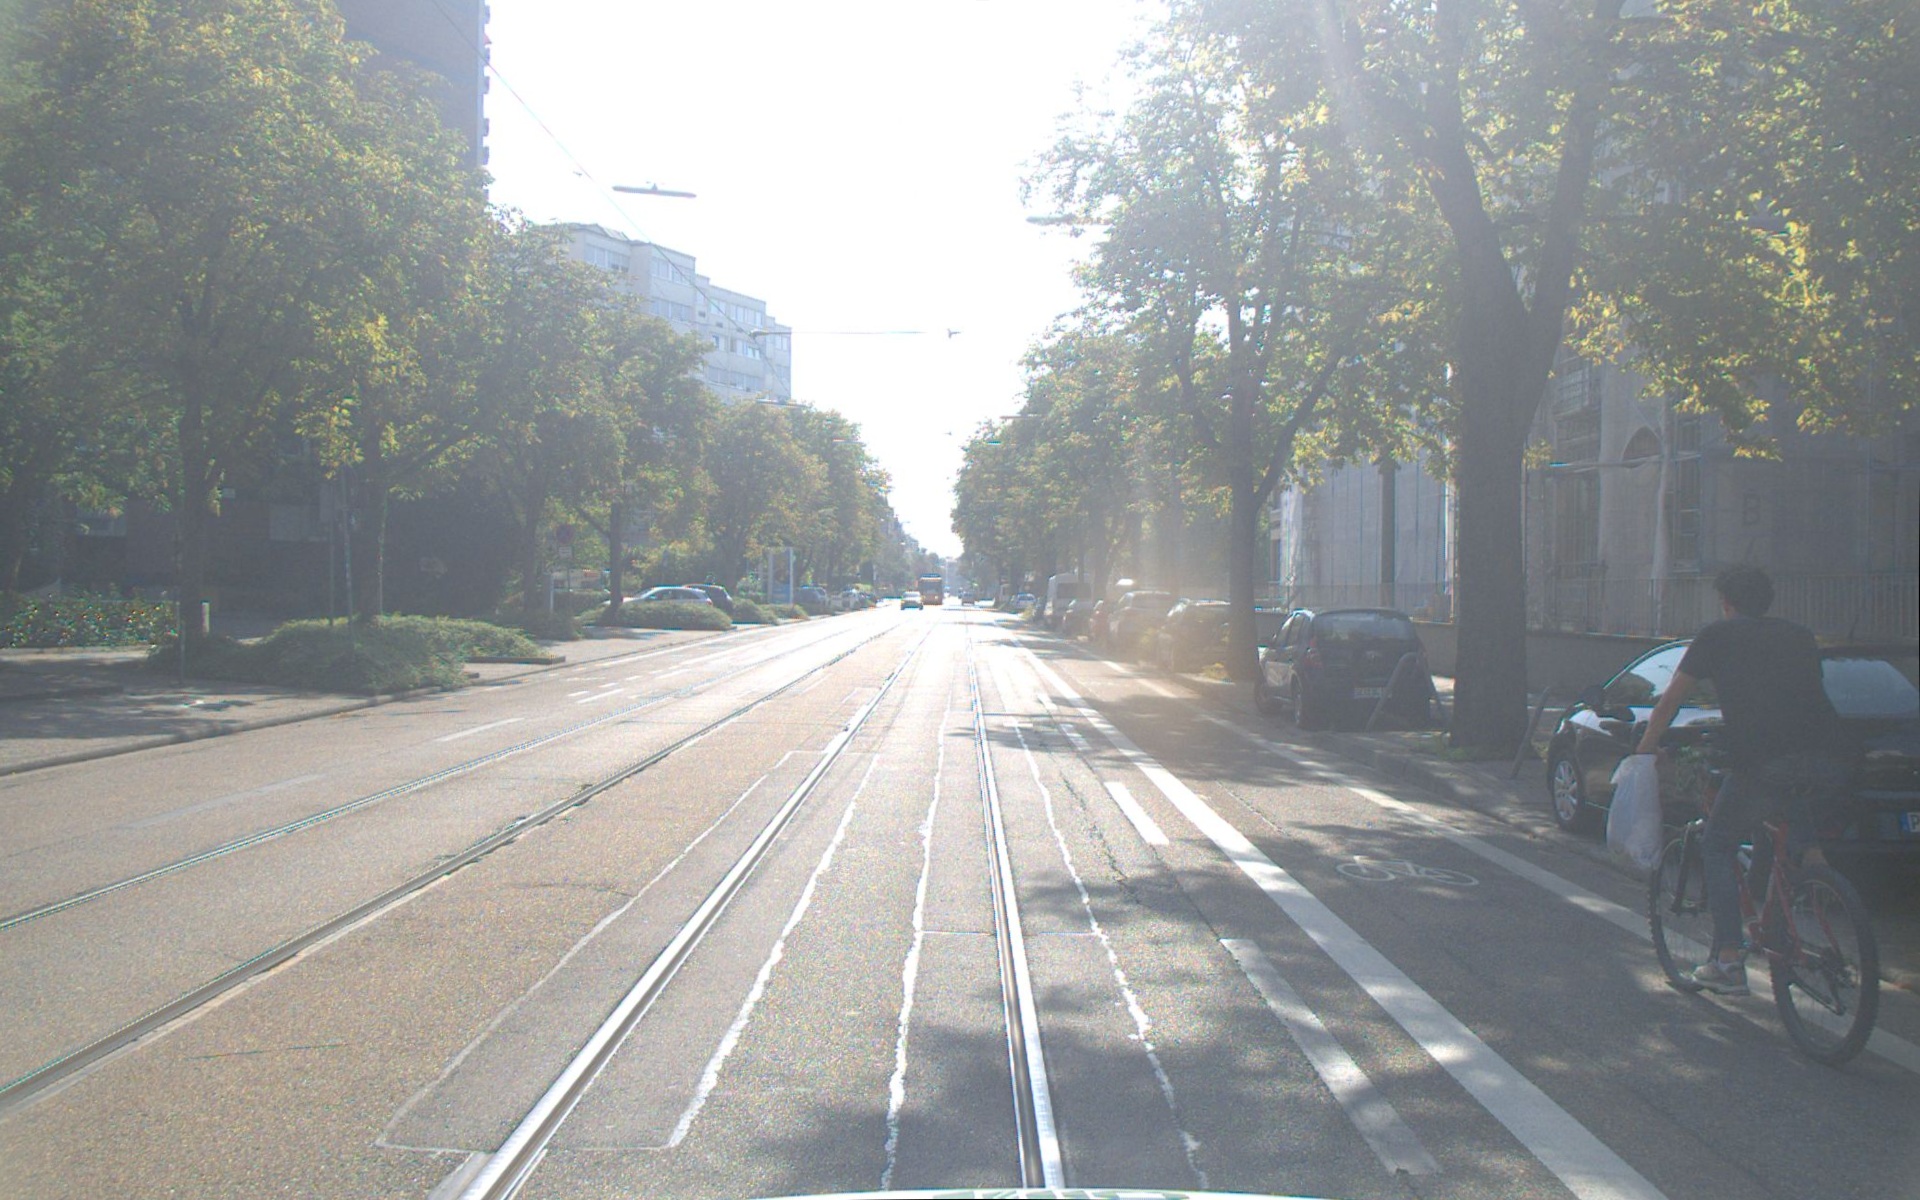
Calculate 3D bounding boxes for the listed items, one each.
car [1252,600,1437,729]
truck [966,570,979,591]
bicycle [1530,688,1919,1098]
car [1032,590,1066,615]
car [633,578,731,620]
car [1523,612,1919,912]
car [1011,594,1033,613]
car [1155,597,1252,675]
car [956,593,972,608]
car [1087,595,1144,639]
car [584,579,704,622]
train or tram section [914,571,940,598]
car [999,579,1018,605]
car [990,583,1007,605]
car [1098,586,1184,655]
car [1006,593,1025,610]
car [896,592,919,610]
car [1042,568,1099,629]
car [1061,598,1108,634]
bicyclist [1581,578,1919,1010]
[{"bbox_3d":[5.053,0.795,22.200,1.612,1.537,3.778,-1,0,0],"label":"car"},{"bbox_3d":[1.928,-3.004,259.711,1.823,3.185,4.351,1,0,-2],"label":"truck"},{"bbox_3d":[2.968,0.998,6.426,0.770,1.164,2.305,1,0,2],"label":"bicycle"},{"bbox_3d":[5.107,0.149,95.536,1.717,1.402,4.719,-1,0,0],"label":"car"},{"bbox_3d":[-11.274,-0.039,67.111,3.588,1.541,1.609,2,0,-25],"label":"car"},{"bbox_3d":[5.117,0.845,10.522,1.612,1.453,4.084,-1,0,-1],"label":"car"},{"bbox_3d":[4.844,0.271,129.044,1.655,1.443,3.634,1,0,1],"label":"car"},{"bbox_3d":[5.110,0.721,35.073,1.543,1.510,3.739,-1,1,1],"label":"car"},{"bbox_3d":[0.528,0.034,205.366,1.952,1.870,4.001,1,0,1],"label":"car"},{"bbox_3d":[5.210,0.545,55.902,1.583,1.438,4.000,0,0,0],"label":"car"},{"bbox_3d":[-11.518,0.016,60.236,3.944,1.505,1.771,1,0,-30],"label":"car"},{"bbox_3d":[-3.752,-1.740,193.319,2.673,2.945,15.454,1,0,0],"label":"train or tram section"},{"bbox_3d":[5.002,-0.819,170.857,1.963,2.534,4.477,1,-1,1],"label":"car"},{"bbox_3d":[4.537,-0.707,197.697,1.963,2.518,4.477,1,0,1],"label":"car"},{"bbox_3d":[4.882,0.523,45.178,1.718,1.721,4.395,1,1,-2],"label":"car"},{"bbox_3d":[4.783,0.139,142.644,1.562,1.443,3.634,1,0,1],"label":"car"},{"bbox_3d":[-4.270,0.077,134.688,1.791,1.400,4.512,1,0,-1],"label":"car"},{"bbox_3d":[5.050,-0.085,76.341,2.040,2.597,5.500,-3,0,-1],"label":"car"},{"bbox_3d":[4.950,0.618,66.176,1.583,1.398,4.827,0,0,1],"label":"car"},{"bbox_3d":[2.976,0.677,6.350,0.770,1.495,1.116,1,0,2],"label":"bicyclist"}]
